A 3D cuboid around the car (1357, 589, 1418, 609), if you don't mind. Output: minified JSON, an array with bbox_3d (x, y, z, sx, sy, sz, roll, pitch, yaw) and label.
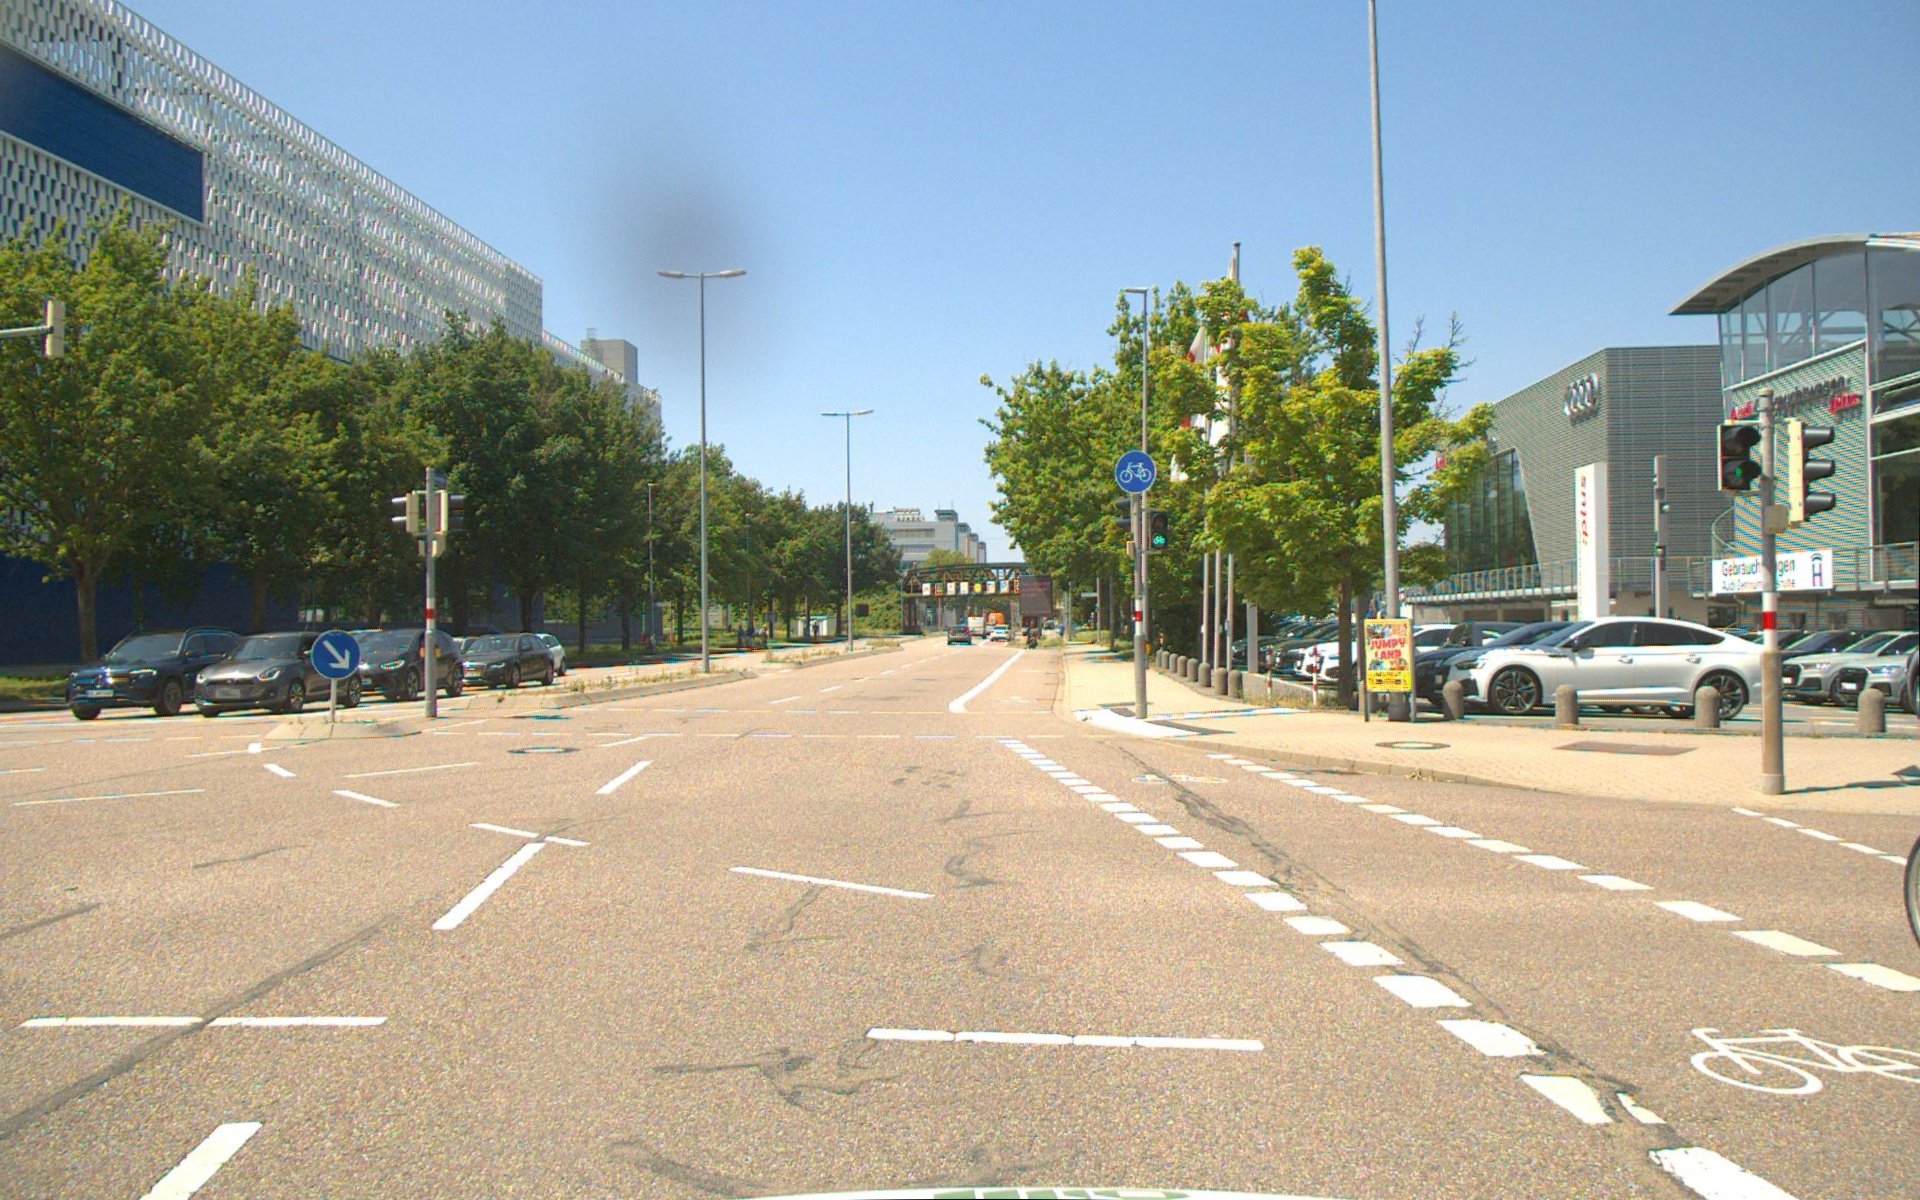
[{"bbox_3d":[30.411,-0.062,117.695,3.906,1.335,1.797,1,-1,-1],"label":"car"}]

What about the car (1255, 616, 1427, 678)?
[{"bbox_3d":[9.743,1.190,42.532,4.015,1.429,1.869,2,-1,3],"label":"car"}]

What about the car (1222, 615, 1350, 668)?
[{"bbox_3d":[9.905,1.244,50.481,3.604,1.479,1.834,2,-1,3],"label":"car"}]

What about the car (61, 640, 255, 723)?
[{"bbox_3d":[-15.422,1.527,32.048,1.626,1.449,4.039,-2,-1,3],"label":"car"}]

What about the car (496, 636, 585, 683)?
[{"bbox_3d":[-14.432,2.016,57.137,1.690,1.471,4.453,-3,-1,2],"label":"car"}]

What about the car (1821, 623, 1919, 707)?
[{"bbox_3d":[19.901,1.334,33.540,3.902,1.626,1.851,2,-1,3],"label":"car"}]

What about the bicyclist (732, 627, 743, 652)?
[{"bbox_3d":[-15.081,2.674,112.108,0.624,1.610,0.884,-1,-1,1],"label":"bicyclist"}]

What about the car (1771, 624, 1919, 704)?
[{"bbox_3d":[20.084,1.400,36.109,3.902,1.650,1.657,2,-1,3],"label":"car"}]

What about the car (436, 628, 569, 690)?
[{"bbox_3d":[-11.906,1.518,43.369,1.690,1.471,4.722,-3,-1,6],"label":"car"}]

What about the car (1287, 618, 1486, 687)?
[{"bbox_3d":[9.477,1.159,36.987,4.013,1.372,1.869,2,-1,3],"label":"car"}]

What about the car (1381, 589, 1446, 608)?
[{"bbox_3d":[30.310,-0.118,110.665,3.859,1.232,1.717,0,-1,-1],"label":"car"}]

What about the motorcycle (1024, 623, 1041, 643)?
[{"bbox_3d":[4.257,1.921,96.643,0.702,1.124,1.827,1,-1,-6],"label":"motorcycle"}]

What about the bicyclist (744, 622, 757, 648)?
[{"bbox_3d":[-13.968,2.341,110.256,0.729,1.715,0.952,-1,-1,2],"label":"bicyclist"}]

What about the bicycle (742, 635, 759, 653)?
[{"bbox_3d":[-13.959,2.906,110.281,0.724,1.145,2.435,-1,-1,3],"label":"bicycle"}]

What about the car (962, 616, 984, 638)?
[{"bbox_3d":[1.294,2.565,158.349,1.952,2.049,4.001,-1,-1,2],"label":"car"}]

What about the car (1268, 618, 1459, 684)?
[{"bbox_3d":[9.594,1.195,39.555,4.137,1.415,1.869,2,-1,3],"label":"car"}]

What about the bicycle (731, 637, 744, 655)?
[{"bbox_3d":[-15.082,3.117,112.225,0.624,1.153,1.970,-1,-1,0],"label":"bicycle"}]

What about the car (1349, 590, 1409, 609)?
[{"bbox_3d":[30.645,-0.047,121.129,3.906,1.335,1.797,-1,-1,-1],"label":"car"}]

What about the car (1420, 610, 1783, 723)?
[{"bbox_3d":[9.058,0.917,23.667,4.495,1.415,1.870,2,-1,5],"label":"car"}]

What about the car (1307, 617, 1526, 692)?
[{"bbox_3d":[9.334,1.096,34.055,4.010,1.388,1.875,2,-1,3],"label":"car"}]

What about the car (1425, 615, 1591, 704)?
[{"bbox_3d":[9.889,1.032,30.195,1.823,1.444,4.665,1,-1,5],"label":"car"}]

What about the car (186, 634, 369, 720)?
[{"bbox_3d":[-12.519,1.376,30.574,1.609,1.413,3.717,-3,-1,4],"label":"car"}]

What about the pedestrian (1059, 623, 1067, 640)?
[{"bbox_3d":[8.616,2.627,138.046,0.611,1.399,0.564,-1,-1,2],"label":"pedestrian"}]

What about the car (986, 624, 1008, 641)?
[{"bbox_3d":[3.240,2.866,144.724,1.884,1.445,4.001,0,-1,2],"label":"car"}]

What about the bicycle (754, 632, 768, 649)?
[{"bbox_3d":[-14.299,2.899,119.130,0.616,1.179,2.118,-3,-1,2],"label":"bicycle"}]

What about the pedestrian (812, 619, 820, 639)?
[{"bbox_3d":[-13.940,2.845,160.218,0.728,1.917,0.578,-1,-1,4],"label":"pedestrian"}]

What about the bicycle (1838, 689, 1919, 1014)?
[{"bbox_3d":[3.863,0.920,5.527,0.616,1.153,1.890,0,0,-9],"label":"bicycle"}]

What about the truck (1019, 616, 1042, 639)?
[{"bbox_3d":[7.968,3.092,185.723,2.407,2.453,7.136,1,-1,3],"label":"truck"}]

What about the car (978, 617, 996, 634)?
[{"bbox_3d":[3.112,2.896,188.074,1.855,1.847,4.001,-1,-1,3],"label":"car"}]

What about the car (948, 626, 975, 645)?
[{"bbox_3d":[0.109,2.675,126.599,1.861,1.400,4.232,-1,-1,2],"label":"car"}]

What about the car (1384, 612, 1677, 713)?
[{"bbox_3d":[8.956,0.967,26.221,4.010,1.415,1.869,2,-1,3],"label":"car"}]

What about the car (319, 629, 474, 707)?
[{"bbox_3d":[-12.367,1.463,36.606,1.690,1.531,4.245,-3,-1,4],"label":"car"}]

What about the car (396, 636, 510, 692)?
[{"bbox_3d":[-14.787,1.831,48.522,1.710,1.447,4.624,-2,-1,2],"label":"car"}]

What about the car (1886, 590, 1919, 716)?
[{"bbox_3d":[12.883,0.597,19.317,1.829,1.586,4.505,-2,-2,4],"label":"car"}]

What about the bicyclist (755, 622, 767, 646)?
[{"bbox_3d":[-14.322,2.437,119.082,0.620,1.657,1.045,-3,-1,2],"label":"bicyclist"}]

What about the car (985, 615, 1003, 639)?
[{"bbox_3d":[4.192,3.322,203.839,2.029,2.904,6.766,-1,-1,2],"label":"car"}]

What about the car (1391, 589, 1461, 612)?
[{"bbox_3d":[29.659,0.051,105.294,3.906,1.335,1.797,1,-1,-1],"label":"car"}]

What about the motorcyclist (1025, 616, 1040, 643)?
[{"bbox_3d":[4.244,1.701,96.677,0.705,1.556,0.869,1,-1,-7],"label":"motorcyclist"}]

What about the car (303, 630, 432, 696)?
[{"bbox_3d":[-15.139,1.593,42.465,1.690,1.571,3.916,-2,-1,3],"label":"car"}]

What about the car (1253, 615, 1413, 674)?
[{"bbox_3d":[10.205,1.216,45.491,4.015,1.479,1.869,2,-1,3],"label":"car"}]
